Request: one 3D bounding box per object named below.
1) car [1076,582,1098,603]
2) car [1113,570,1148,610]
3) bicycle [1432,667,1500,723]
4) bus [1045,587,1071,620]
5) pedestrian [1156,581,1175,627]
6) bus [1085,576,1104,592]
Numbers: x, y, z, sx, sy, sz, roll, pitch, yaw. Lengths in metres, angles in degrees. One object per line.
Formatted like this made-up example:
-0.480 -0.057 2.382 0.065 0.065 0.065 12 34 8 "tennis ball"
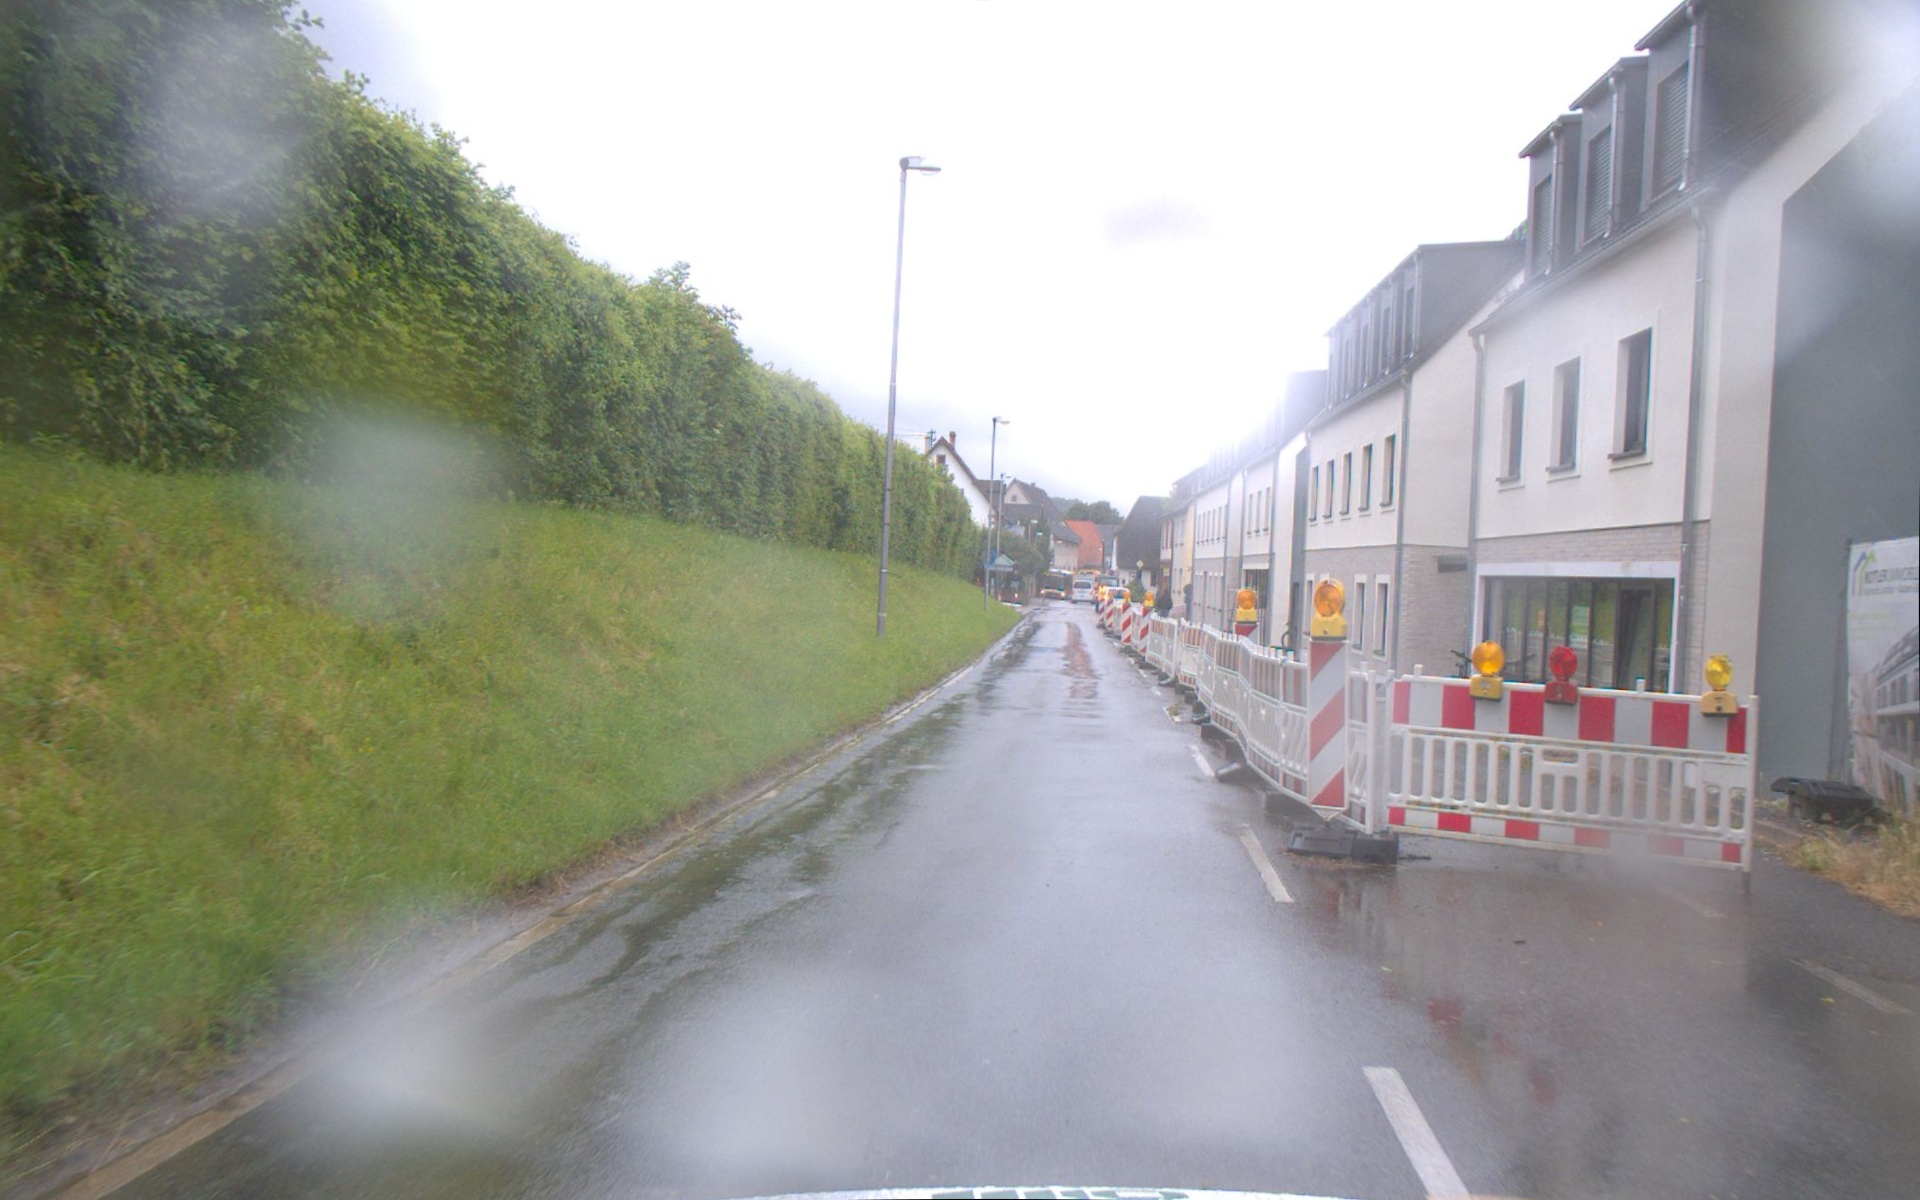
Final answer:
10.803 -0.668 141.006 1.780 1.670 4.098 -3 0 4 "car"
10.893 -0.671 105.848 1.952 2.416 4.098 -3 0 4 "car"
7.604 1.419 24.915 0.486 0.709 1.740 -3 0 1 "bicycle"
10.245 0.354 172.024 2.194 3.156 7.035 4 0 6 "bus"
8.229 0.143 66.212 0.651 1.786 0.812 -3 0 5 "pedestrian"
13.585 -1.567 166.980 1.757 1.434 4.003 4 0 6 "bus"
